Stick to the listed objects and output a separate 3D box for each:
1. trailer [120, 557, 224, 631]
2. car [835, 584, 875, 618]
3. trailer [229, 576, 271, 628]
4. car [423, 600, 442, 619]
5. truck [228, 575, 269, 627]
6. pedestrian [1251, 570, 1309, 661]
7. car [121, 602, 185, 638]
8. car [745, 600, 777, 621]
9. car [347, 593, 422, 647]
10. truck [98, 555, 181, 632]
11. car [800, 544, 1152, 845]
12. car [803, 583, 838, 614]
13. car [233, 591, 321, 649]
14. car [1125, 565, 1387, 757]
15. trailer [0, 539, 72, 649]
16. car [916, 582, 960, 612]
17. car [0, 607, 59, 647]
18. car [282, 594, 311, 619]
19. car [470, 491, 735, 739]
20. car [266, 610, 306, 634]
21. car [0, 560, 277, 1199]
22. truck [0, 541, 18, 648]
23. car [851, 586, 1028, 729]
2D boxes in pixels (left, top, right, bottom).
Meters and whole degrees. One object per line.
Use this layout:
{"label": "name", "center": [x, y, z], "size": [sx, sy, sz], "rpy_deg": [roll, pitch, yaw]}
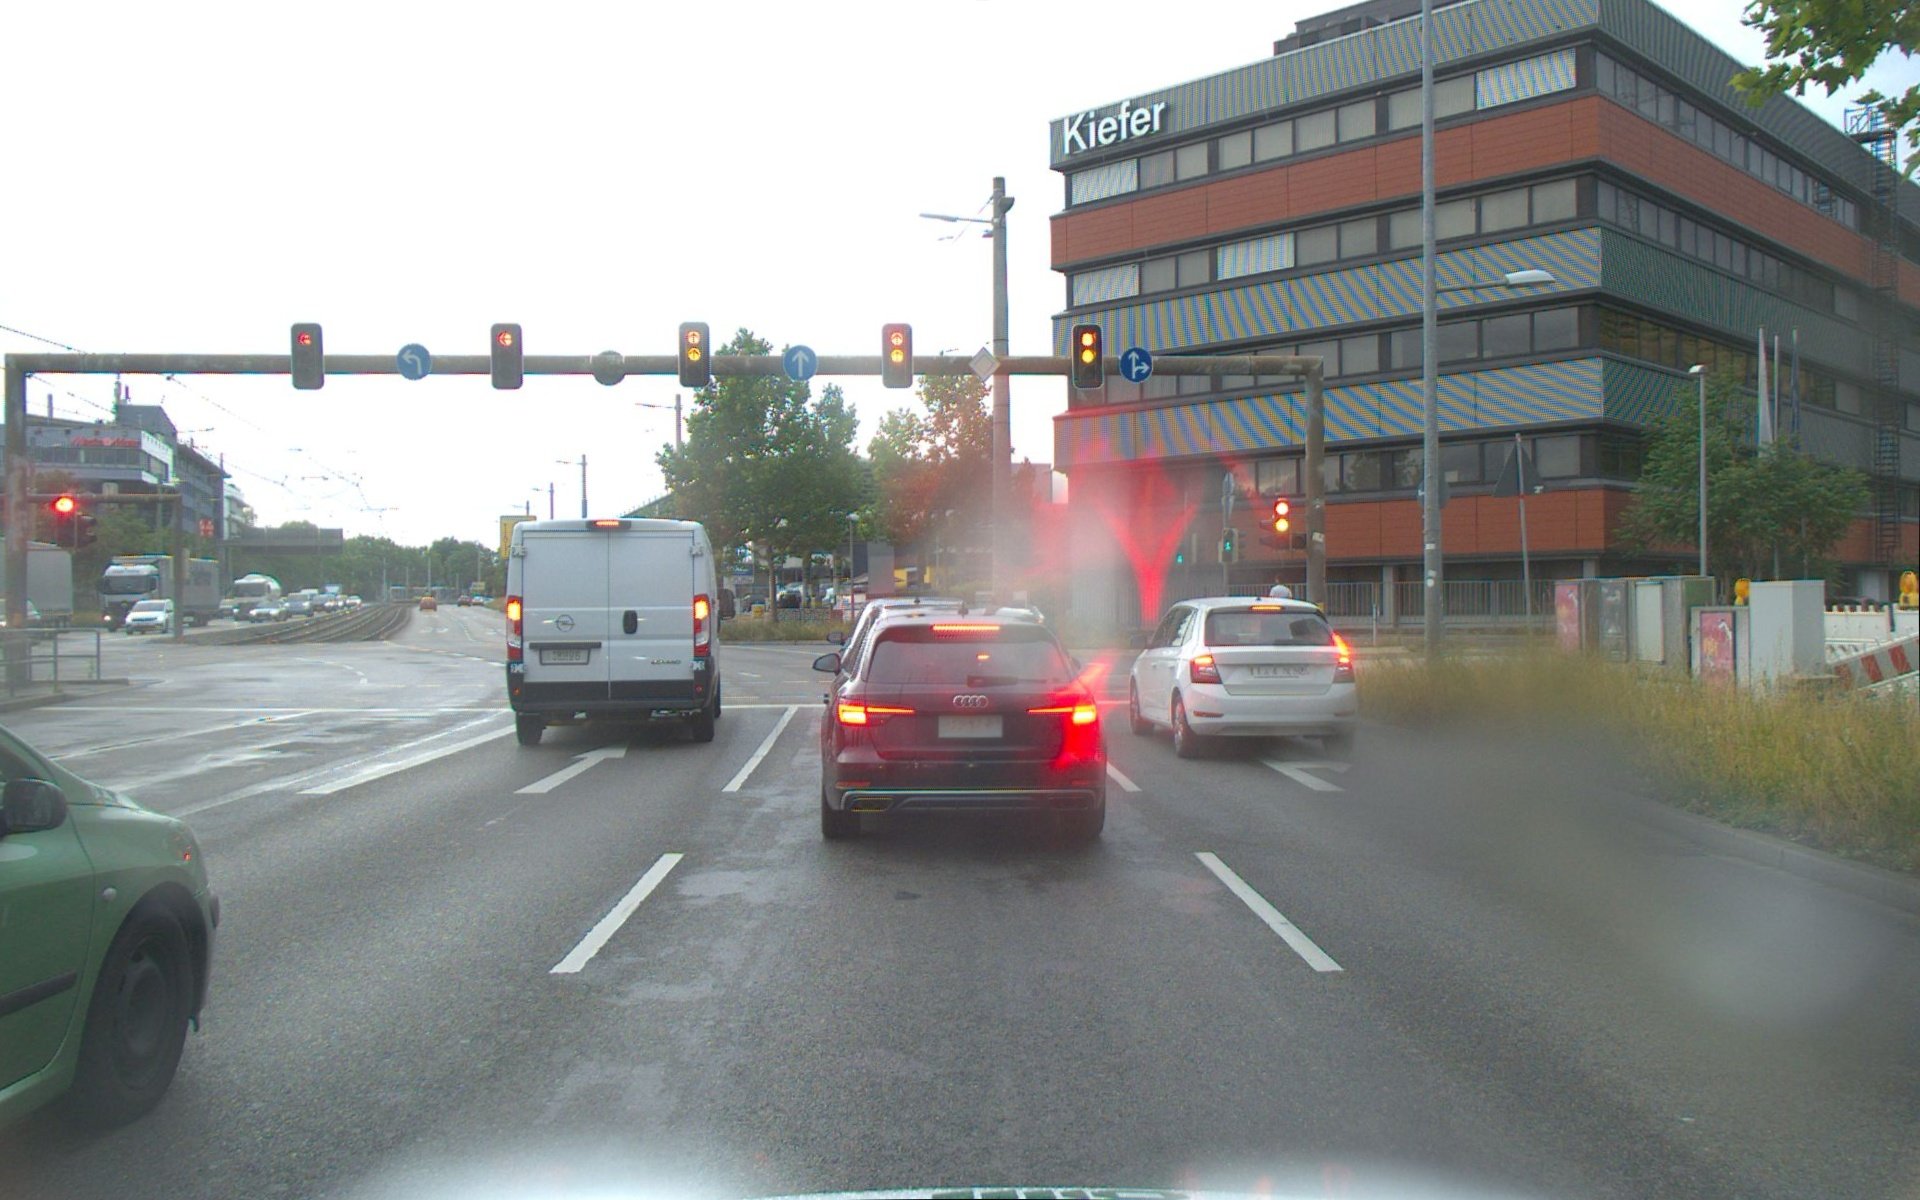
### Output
{"label": "trailer", "center": [-47.839, -0.254, 100.819], "size": [2.602, 4.197, 12.709], "rpy_deg": [-1, -1, -11]}
{"label": "car", "center": [-6.653, 0.050, 104.481], "size": [1.958, 2.067, 3.989], "rpy_deg": [-1, 0, -11]}
{"label": "trailer", "center": [-56.995, 0.222, 132.942], "size": [2.687, 3.922, 11.153], "rpy_deg": [-1, -1, -22]}
{"label": "car", "center": [-57.953, 1.067, 181.697], "size": [1.744, 2.049, 4.328], "rpy_deg": [2, -1, -16]}
{"label": "truck", "center": [-54.828, 0.110, 127.514], "size": [2.709, 3.872, 5.372], "rpy_deg": [-2, -1, -23]}
{"label": "pedestrian", "center": [7.900, 0.366, 40.865], "size": [1.120, 2.162, 1.222], "rpy_deg": [-1, 1, -2]}
{"label": "car", "center": [-39.566, 0.971, 81.187], "size": [1.854, 1.681, 4.082], "rpy_deg": [2, -1, -12]}
{"label": "car", "center": [-16.339, 0.857, 135.761], "size": [1.764, 1.619, 3.978], "rpy_deg": [-1, 0, -19]}
{"label": "car", "center": [-23.400, 0.786, 67.378], "size": [1.738, 2.049, 4.343], "rpy_deg": [2, 0, -4]}
{"label": "truck", "center": [-46.478, -0.341, 93.868], "size": [2.619, 4.202, 6.168], "rpy_deg": [-1, -1, -11]}
{"label": "car", "center": [0.053, 0.558, 11.196], "size": [1.953, 1.666, 3.999], "rpy_deg": [0, -1, -1]}
{"label": "car", "center": [-9.577, -0.080, 113.172], "size": [1.652, 2.049, 3.525], "rpy_deg": [2, -1, -17]}
{"label": "car", "center": [-25.595, 0.708, 62.112], "size": [1.738, 2.049, 4.343], "rpy_deg": [2, 0, -4]}
{"label": "car", "center": [2.818, 0.578, 16.605], "size": [1.792, 1.685, 3.998], "rpy_deg": [0, -1, -2]}
{"label": "trailer", "center": [-39.385, -0.224, 67.767], "size": [2.749, 4.179, 11.394], "rpy_deg": [-1, 0, -16]}
{"label": "car", "center": [-1.556, -0.191, 116.832], "size": [1.844, 2.049, 3.749], "rpy_deg": [2, -1, -22]}
{"label": "car", "center": [-32.875, 0.908, 57.064], "size": [1.874, 1.286, 4.400], "rpy_deg": [2, -1, -12]}
{"label": "car", "center": [-53.095, 0.510, 132.461], "size": [1.964, 1.869, 4.880], "rpy_deg": [-1, 1, -20]}
{"label": "car", "center": [-3.780, 0.193, 18.460], "size": [2.399, 2.334, 4.896], "rpy_deg": [2, -1, -7]}
{"label": "car", "center": [-46.762, 1.495, 114.837], "size": [1.870, 1.582, 4.550], "rpy_deg": [2, -1, -13]}
{"label": "car", "center": [-2.997, 0.622, 3.135], "size": [1.660, 1.494, 4.401], "rpy_deg": [2, -1, -2]}
{"label": "truck", "center": [-37.906, -0.194, 62.273], "size": [2.785, 4.066, 5.962], "rpy_deg": [0, 0, -15]}
{"label": "car", "center": [-0.204, 0.632, 19.238], "size": [1.855, 1.491, 3.909], "rpy_deg": [0, -1, 0]}
